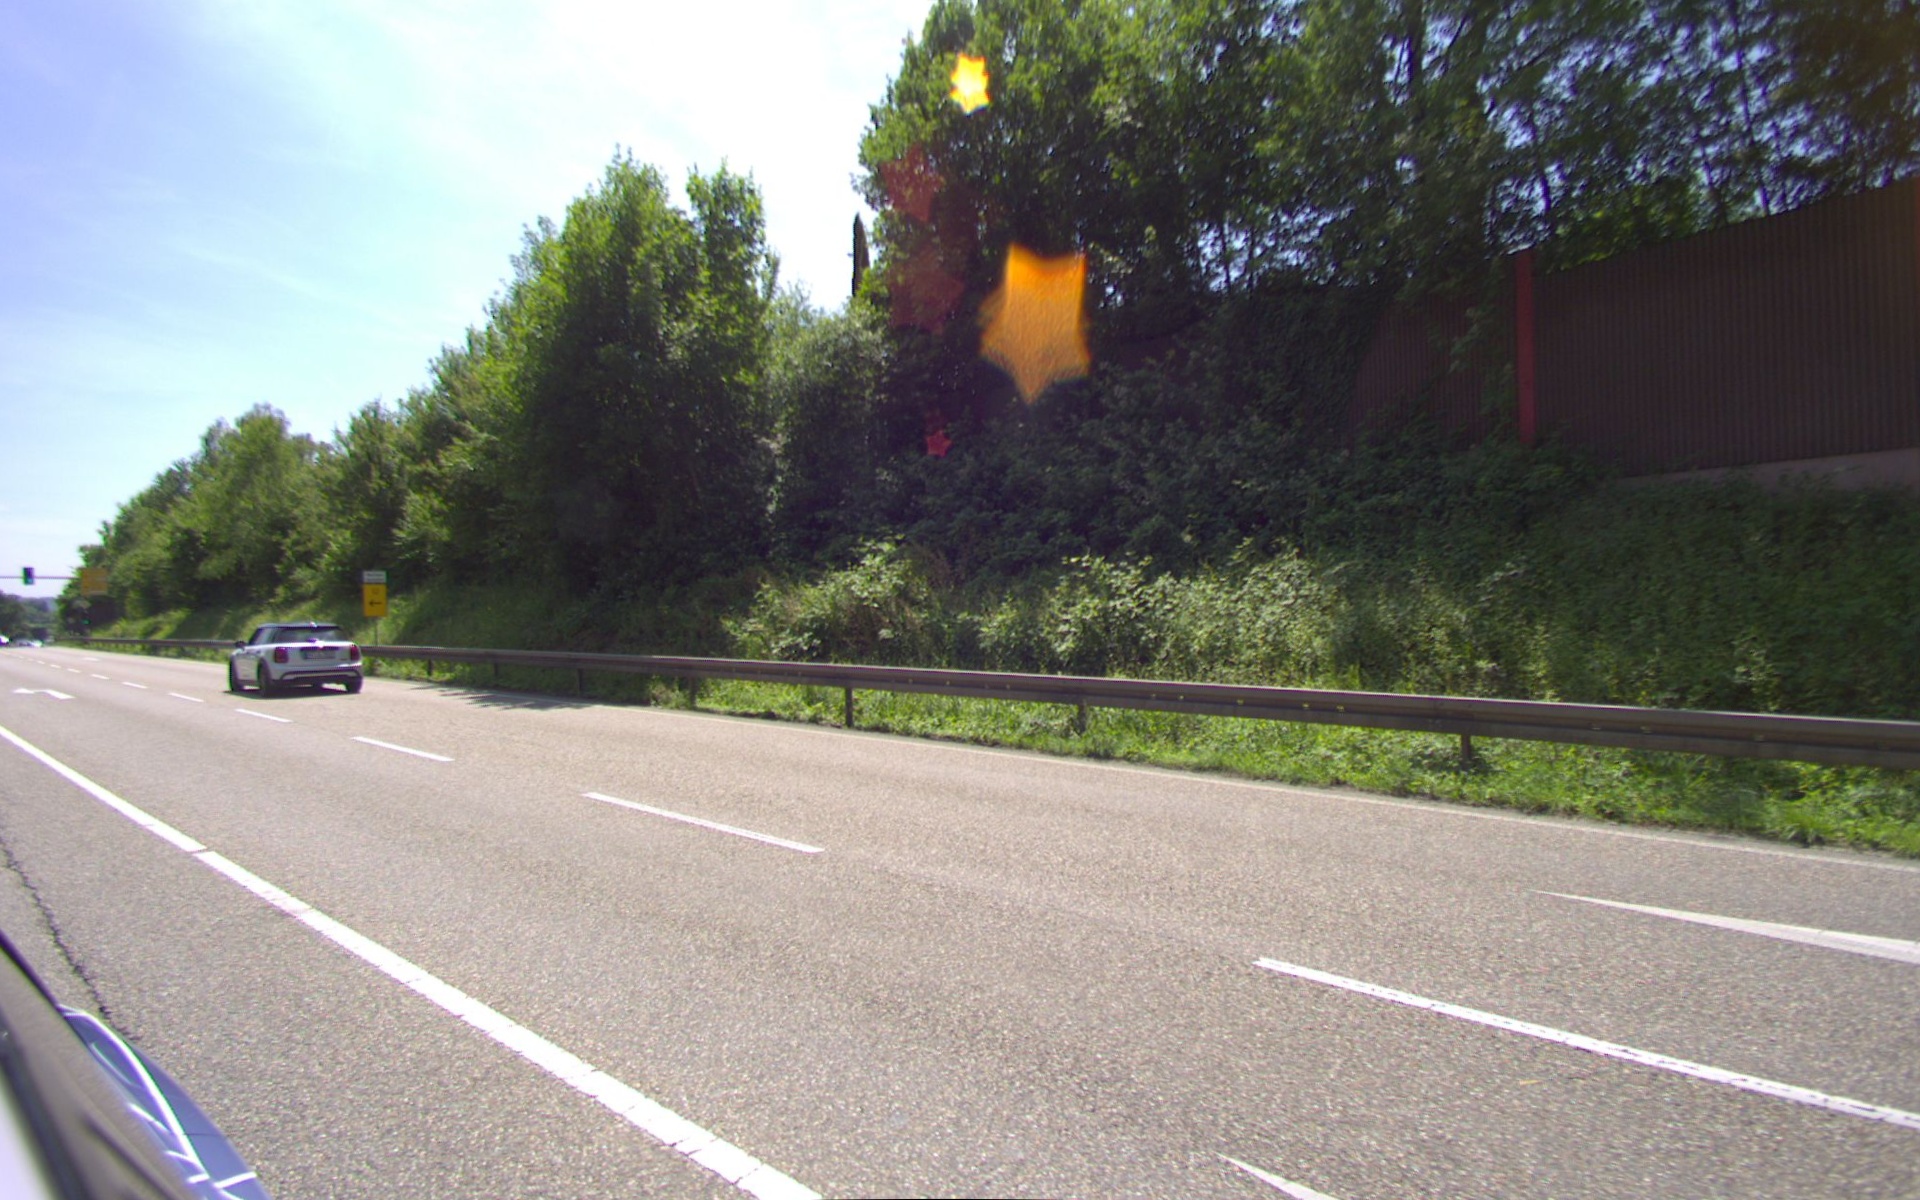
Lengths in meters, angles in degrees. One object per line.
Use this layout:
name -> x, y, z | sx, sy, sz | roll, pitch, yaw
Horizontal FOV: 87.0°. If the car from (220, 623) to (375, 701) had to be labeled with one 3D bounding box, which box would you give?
car -> -13.622, 1.204, 20.724 | 3.871, 1.446, 1.786 | -2, -2, 43
